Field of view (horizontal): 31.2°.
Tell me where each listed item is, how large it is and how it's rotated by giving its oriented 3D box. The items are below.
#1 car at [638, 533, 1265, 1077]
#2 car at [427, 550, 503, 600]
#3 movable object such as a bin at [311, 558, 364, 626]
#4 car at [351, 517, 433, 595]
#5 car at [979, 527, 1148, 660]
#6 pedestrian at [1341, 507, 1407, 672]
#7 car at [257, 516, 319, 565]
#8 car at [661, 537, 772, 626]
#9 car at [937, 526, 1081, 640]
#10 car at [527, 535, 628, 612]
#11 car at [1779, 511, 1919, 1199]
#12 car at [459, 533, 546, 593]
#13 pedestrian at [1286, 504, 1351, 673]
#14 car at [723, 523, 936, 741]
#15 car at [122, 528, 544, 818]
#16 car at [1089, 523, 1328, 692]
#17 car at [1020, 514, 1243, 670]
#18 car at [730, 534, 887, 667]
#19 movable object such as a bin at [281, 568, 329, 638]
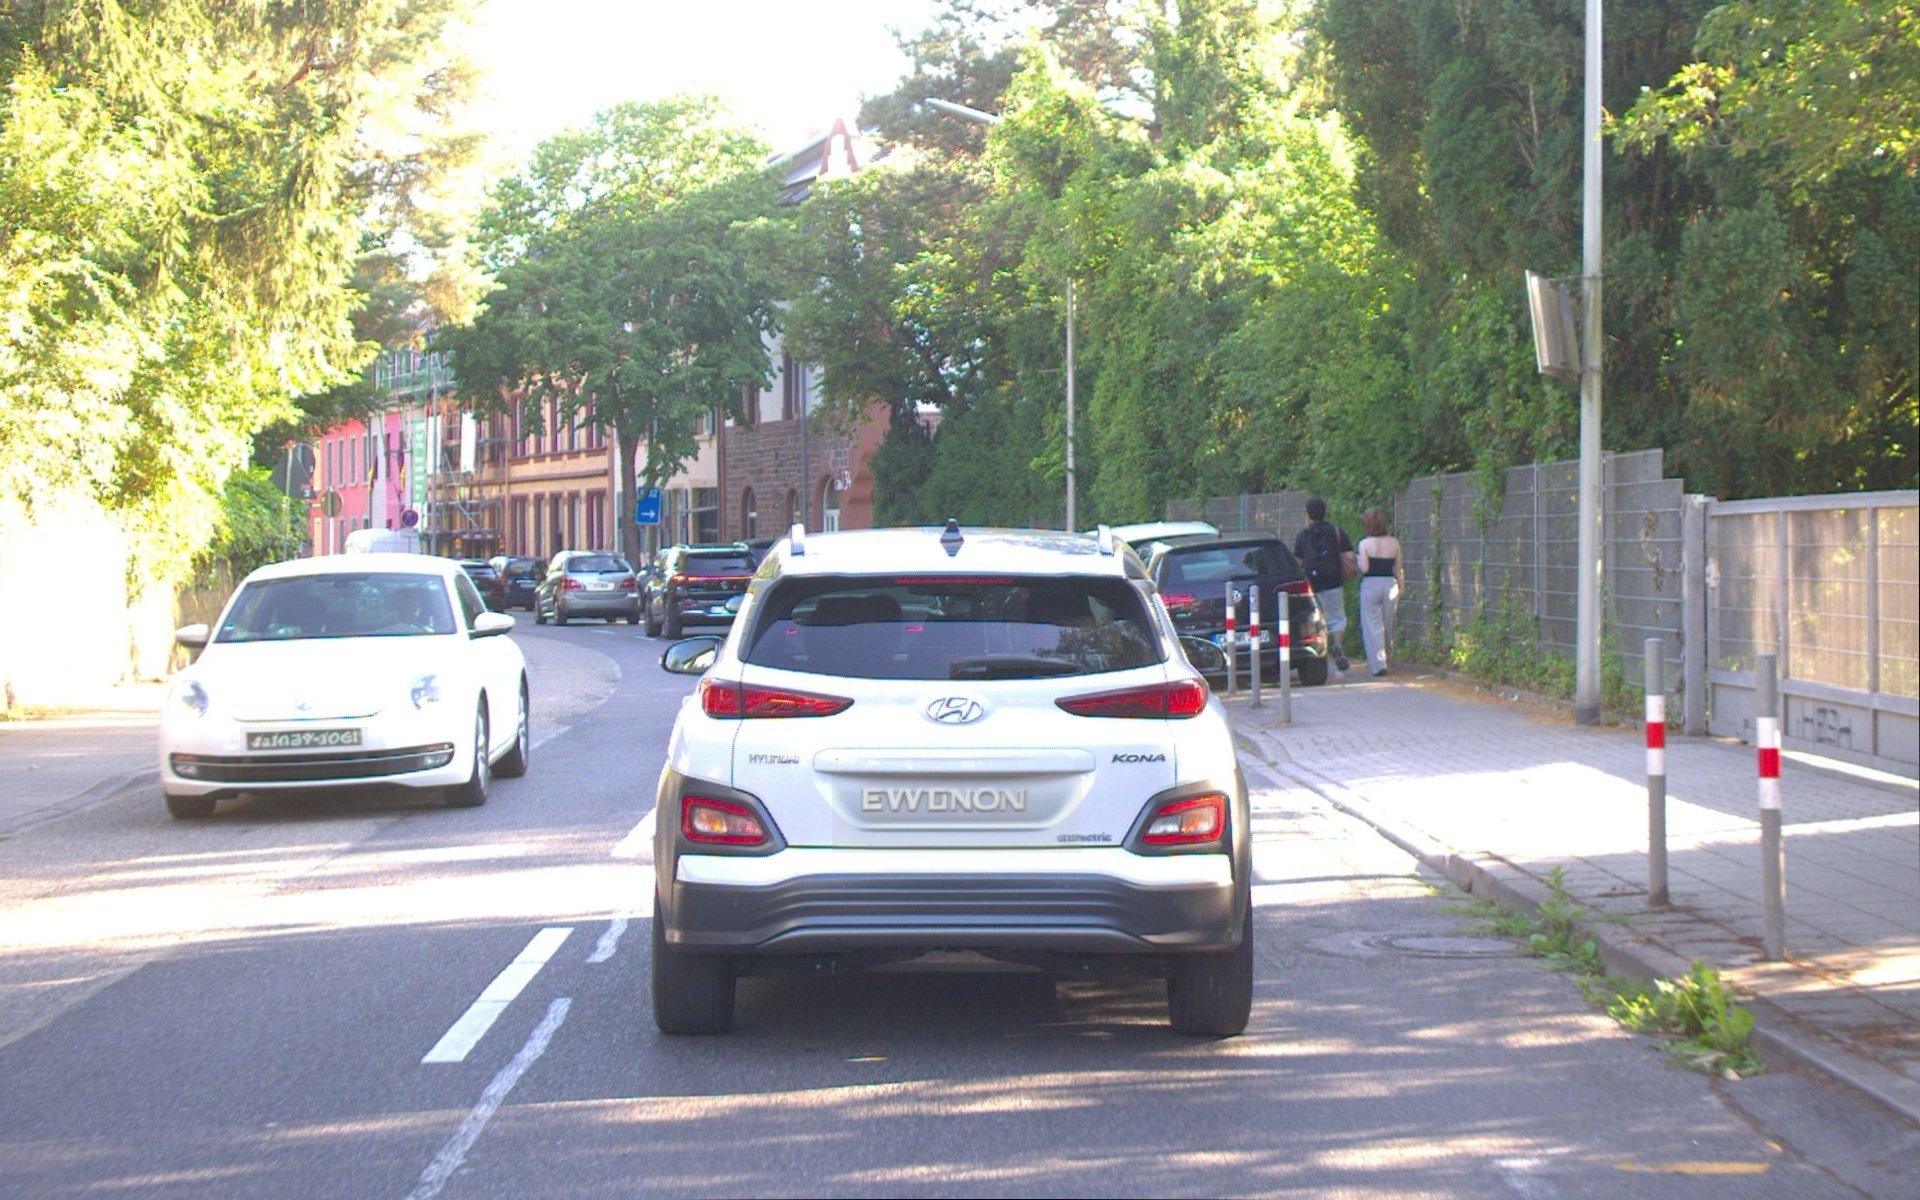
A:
[{"bbox_3d":[-0.033,0.548,11.734,1.772,1.537,4.000,0,1,0],"label":"car"},{"bbox_3d":[-12.966,-0.664,89.984,1.526,1.256,3.362,-1,1,-16],"label":"car"},{"bbox_3d":[-10.922,-0.143,60.335,0.792,1.185,0.773,1,0,-2],"label":"movable object such as a bin"},{"bbox_3d":[-19.292,-1.493,116.699,1.928,2.574,4.395,-2,1,-19],"label":"car"},{"bbox_3d":[1.260,-0.104,43.396,1.593,1.514,3.933,-3,1,-5],"label":"car"},{"bbox_3d":[4.002,-0.103,33.283,0.503,1.563,0.503,-3,1,0],"label":"pedestrian"},{"bbox_3d":[-27.451,-2.419,140.422,1.717,1.929,4.001,-1,1,-22],"label":"car"},{"bbox_3d":[-4.217,-0.334,59.228,1.592,1.456,3.100,-1,1,-9],"label":"car"},{"bbox_3d":[0.661,-0.274,48.864,1.593,1.484,3.603,-3,1,-5],"label":"car"},{"bbox_3d":[-8.178,-0.571,73.274,1.589,1.577,3.362,-1,1,-16],"label":"car"},{"bbox_3d":[2.253,0.624,4.055,1.624,1.504,2.904,-3,2,-5],"label":"car"},{"bbox_3d":[-13.126,-1.079,98.552,1.755,1.611,4.001,0,2,-18],"label":"car"},{"bbox_3d":[3.466,-0.113,33.300,0.503,1.601,0.491,-3,1,0],"label":"pedestrian"},{"bbox_3d":[-1.026,0.188,26.409,1.511,1.528,3.548,-1,1,-3],"label":"car"},{"bbox_3d":[-3.663,0.374,20.754,1.741,1.469,4.000,-4,1,0],"label":"car"},{"bbox_3d":[2.292,0.028,32.694,1.686,1.426,4.001,-3,1,-4],"label":"car"},{"bbox_3d":[1.833,-0.102,37.945,1.593,1.560,4.001,-3,1,-9],"label":"car"},{"bbox_3d":[-1.819,-0.024,40.415,1.570,1.472,3.548,0,1,-7],"label":"car"},{"bbox_3d":[-9.595,0.032,50.380,0.495,1.008,1.113,1,0,-1],"label":"movable object such as a bin"}]
